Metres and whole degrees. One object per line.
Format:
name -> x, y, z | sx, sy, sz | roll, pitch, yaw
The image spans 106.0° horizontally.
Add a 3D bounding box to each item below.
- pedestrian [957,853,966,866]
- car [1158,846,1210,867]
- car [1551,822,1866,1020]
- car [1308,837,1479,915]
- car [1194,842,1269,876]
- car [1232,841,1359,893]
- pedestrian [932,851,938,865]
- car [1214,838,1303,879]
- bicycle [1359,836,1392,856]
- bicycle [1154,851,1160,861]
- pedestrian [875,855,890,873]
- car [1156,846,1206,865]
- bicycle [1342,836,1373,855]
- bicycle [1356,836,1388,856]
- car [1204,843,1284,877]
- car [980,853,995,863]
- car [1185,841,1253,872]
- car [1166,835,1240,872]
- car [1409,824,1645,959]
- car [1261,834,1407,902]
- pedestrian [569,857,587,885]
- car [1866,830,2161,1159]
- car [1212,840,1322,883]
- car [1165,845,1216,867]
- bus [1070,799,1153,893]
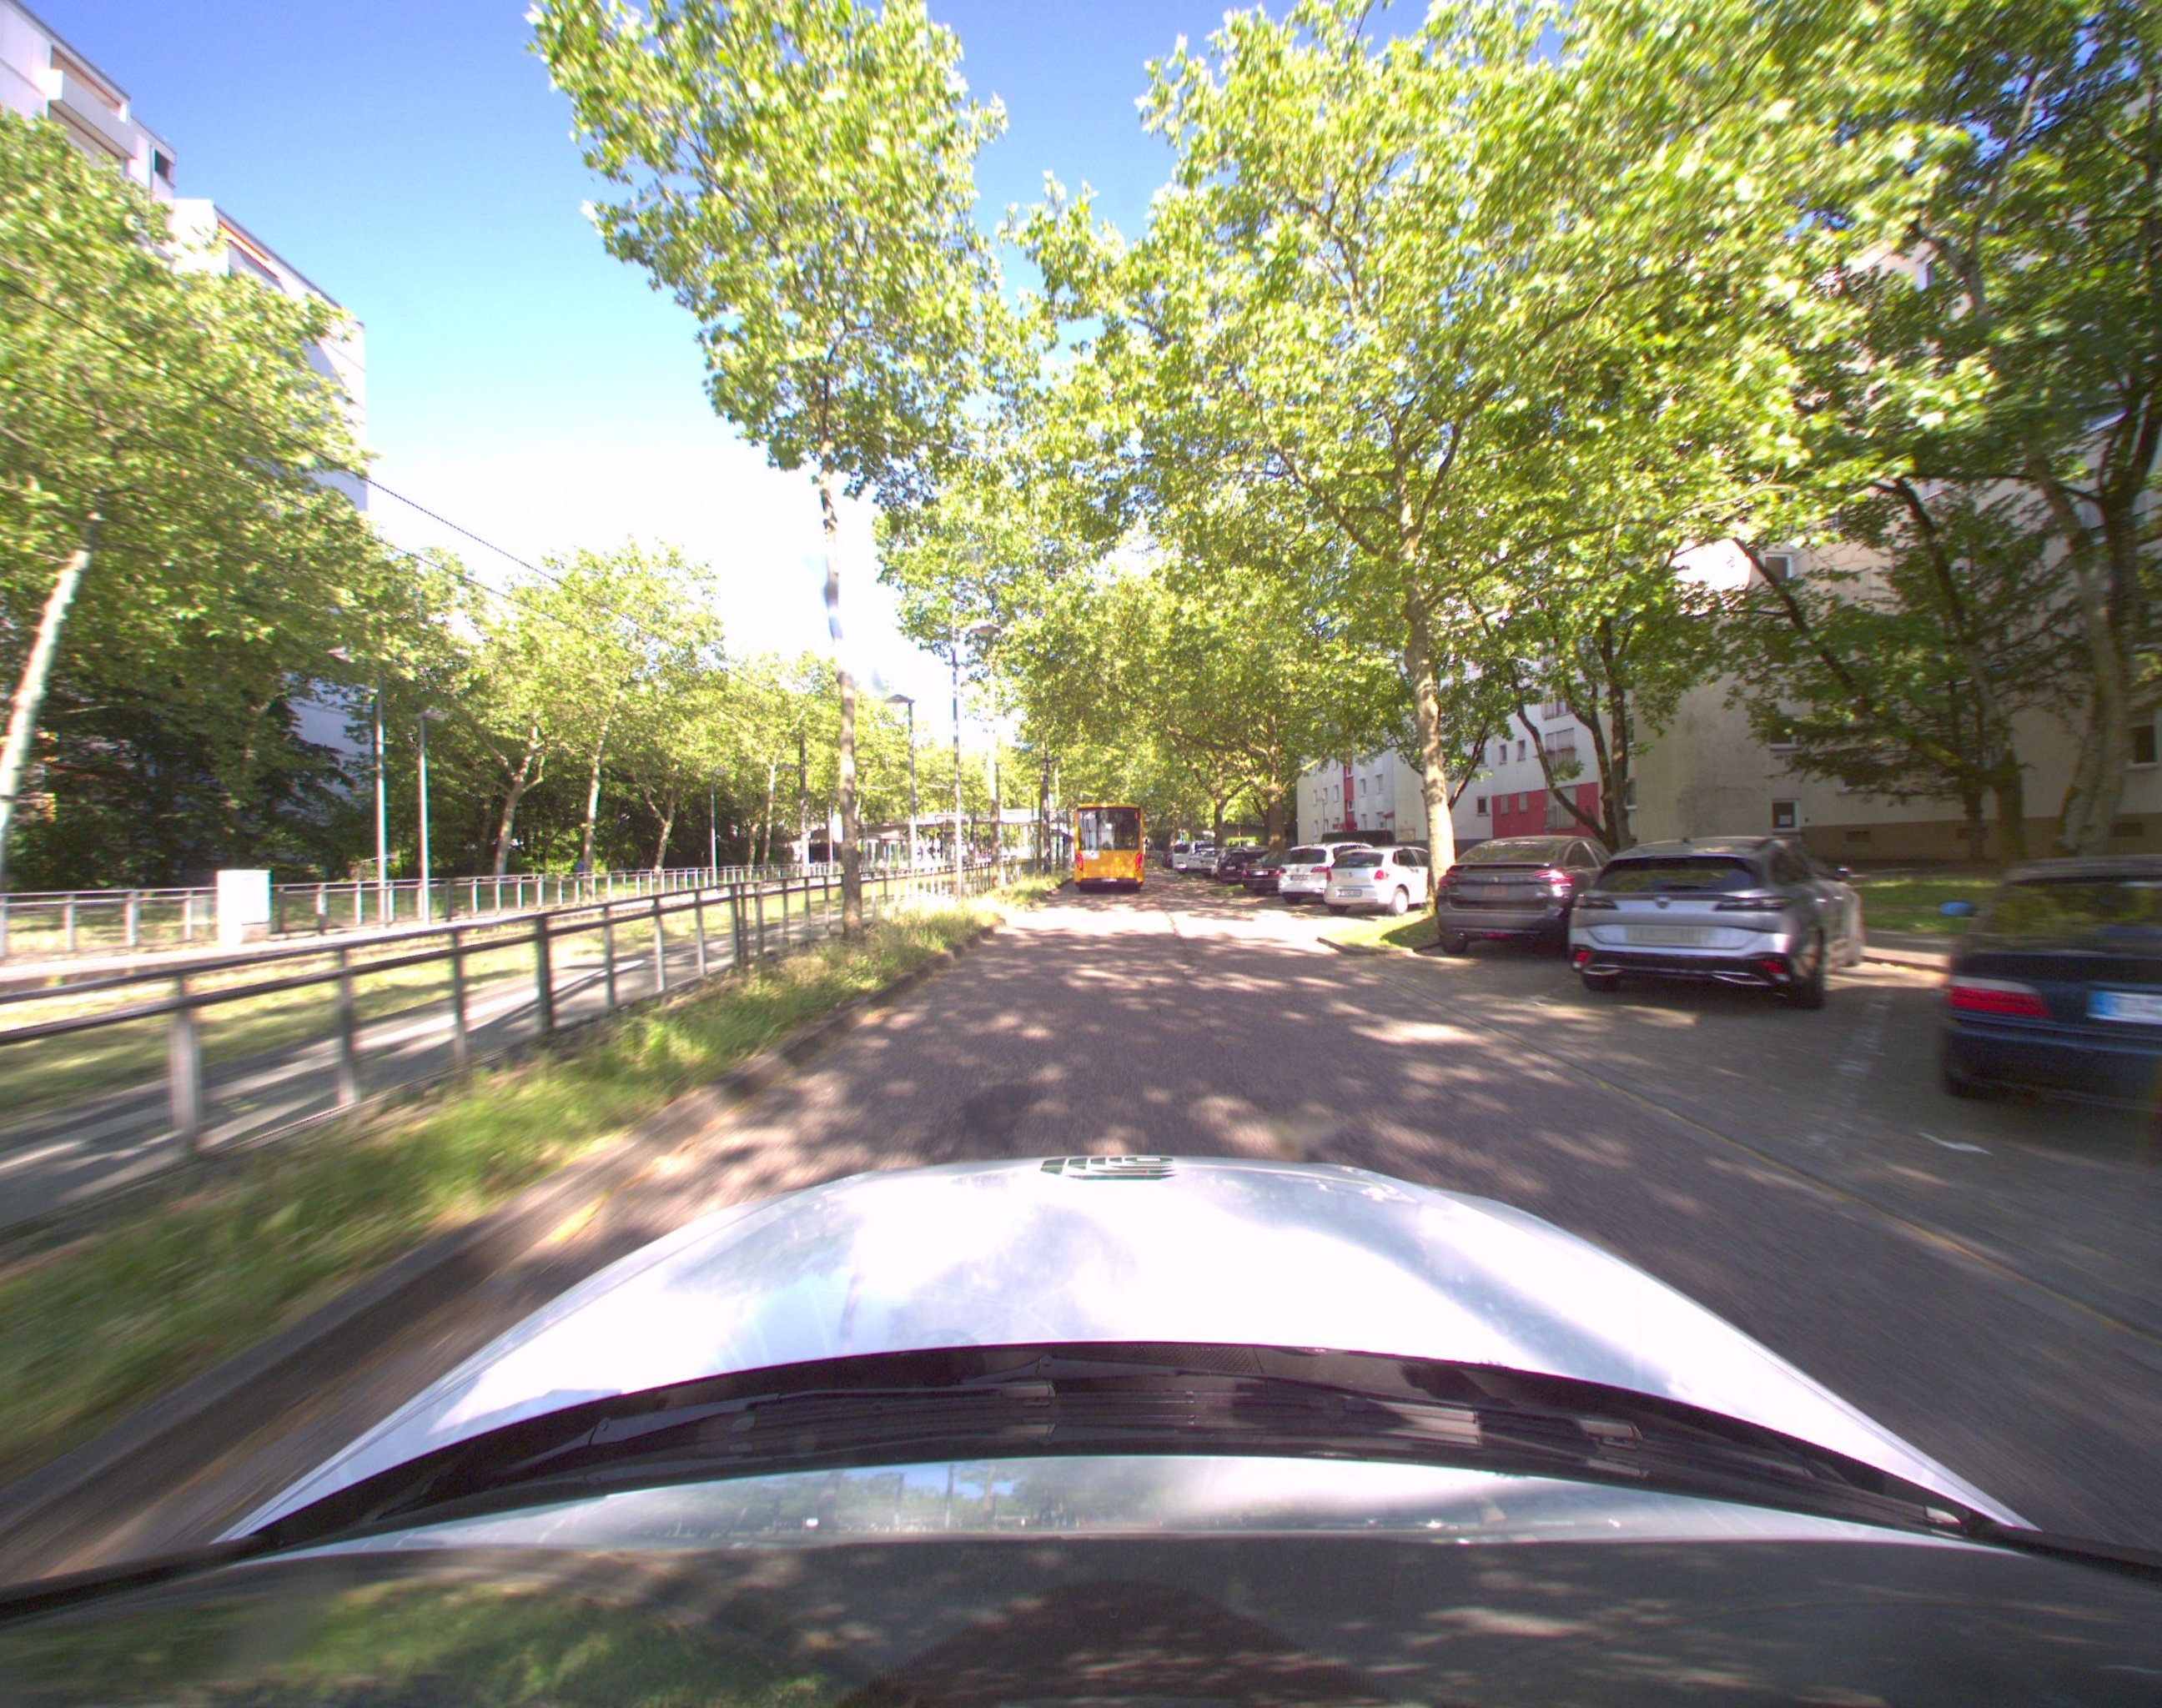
pedestrian -> -11.568, 0.508, 78.843 | 0.775, 1.238, 0.722 | -1, 0, 0
car -> 8.676, 0.183, 68.425 | 4.278, 1.461, 1.779 | -4, 0, -38
car -> 6.415, 0.483, 8.159 | 3.910, 1.445, 1.778 | -3, 0, -42
car -> 7.063, 0.431, 18.262 | 4.021, 1.444, 1.779 | -3, 0, -39
car -> 7.986, 0.227, 43.057 | 1.777, 1.510, 4.237 | -4, 0, 44
car -> 7.013, 0.383, 26.346 | 4.616, 1.422, 1.778 | -3, 0, -43
pedestrian -> -17.508, 0.477, 97.757 | 0.646, 1.661, 0.649 | -1, 0, -2
car -> 8.040, 0.185, 36.791 | 4.022, 1.589, 1.778 | -4, 0, -41
bicycle -> 18.592, -0.507, 51.427 | 1.790, 1.129, 0.499 | -4, 0, -3
bicycle -> 9.397, 0.264, 100.798 | 0.588, 1.182, 1.801 | -4, 1, 1
pedestrian -> -13.020, 0.642, 53.417 | 0.763, 1.183, 0.763 | -1, 0, 2
car -> 8.798, 0.121, 71.627 | 4.278, 1.461, 1.779 | -4, 0, -38
bicycle -> 18.394, -0.551, 54.226 | 1.790, 1.129, 0.549 | -4, 0, -3
bicycle -> 18.550, -0.506, 51.985 | 1.790, 1.129, 0.549 | -4, 0, -3
car -> 8.057, 0.271, 40.122 | 4.023, 1.419, 1.809 | -4, 0, -43
car -> -14.865, 0.612, 129.570 | 1.787, 1.580, 4.290 | -1, 0, 2
car -> 8.393, 0.137, 49.266 | 4.080, 1.580, 1.811 | -4, 0, -41
car -> 7.867, -0.058, 52.428 | 4.613, 2.052, 1.994 | -4, 0, -38
car -> 6.446, 0.408, 11.540 | 1.778, 1.510, 4.202 | -3, 0, 45
car -> 6.918, 0.347, 22.081 | 4.020, 1.576, 1.779 | -3, 0, -39
pedestrian -> -30.933, 1.031, 50.084 | 0.645, 1.661, 0.651 | -1, 0, 3
car -> 6.276, 0.573, 4.830 | 4.167, 1.318, 1.779 | -3, 0, -39
car -> 7.659, 0.290, 33.312 | 4.430, 1.428, 1.929 | -4, 0, -38
car -> 8.800, 0.173, 65.346 | 4.022, 1.468, 1.761 | -4, 0, -41
bus -> 1.235, -0.300, 35.051 | 2.889, 3.266, 12.221 | -1, 0, 1
